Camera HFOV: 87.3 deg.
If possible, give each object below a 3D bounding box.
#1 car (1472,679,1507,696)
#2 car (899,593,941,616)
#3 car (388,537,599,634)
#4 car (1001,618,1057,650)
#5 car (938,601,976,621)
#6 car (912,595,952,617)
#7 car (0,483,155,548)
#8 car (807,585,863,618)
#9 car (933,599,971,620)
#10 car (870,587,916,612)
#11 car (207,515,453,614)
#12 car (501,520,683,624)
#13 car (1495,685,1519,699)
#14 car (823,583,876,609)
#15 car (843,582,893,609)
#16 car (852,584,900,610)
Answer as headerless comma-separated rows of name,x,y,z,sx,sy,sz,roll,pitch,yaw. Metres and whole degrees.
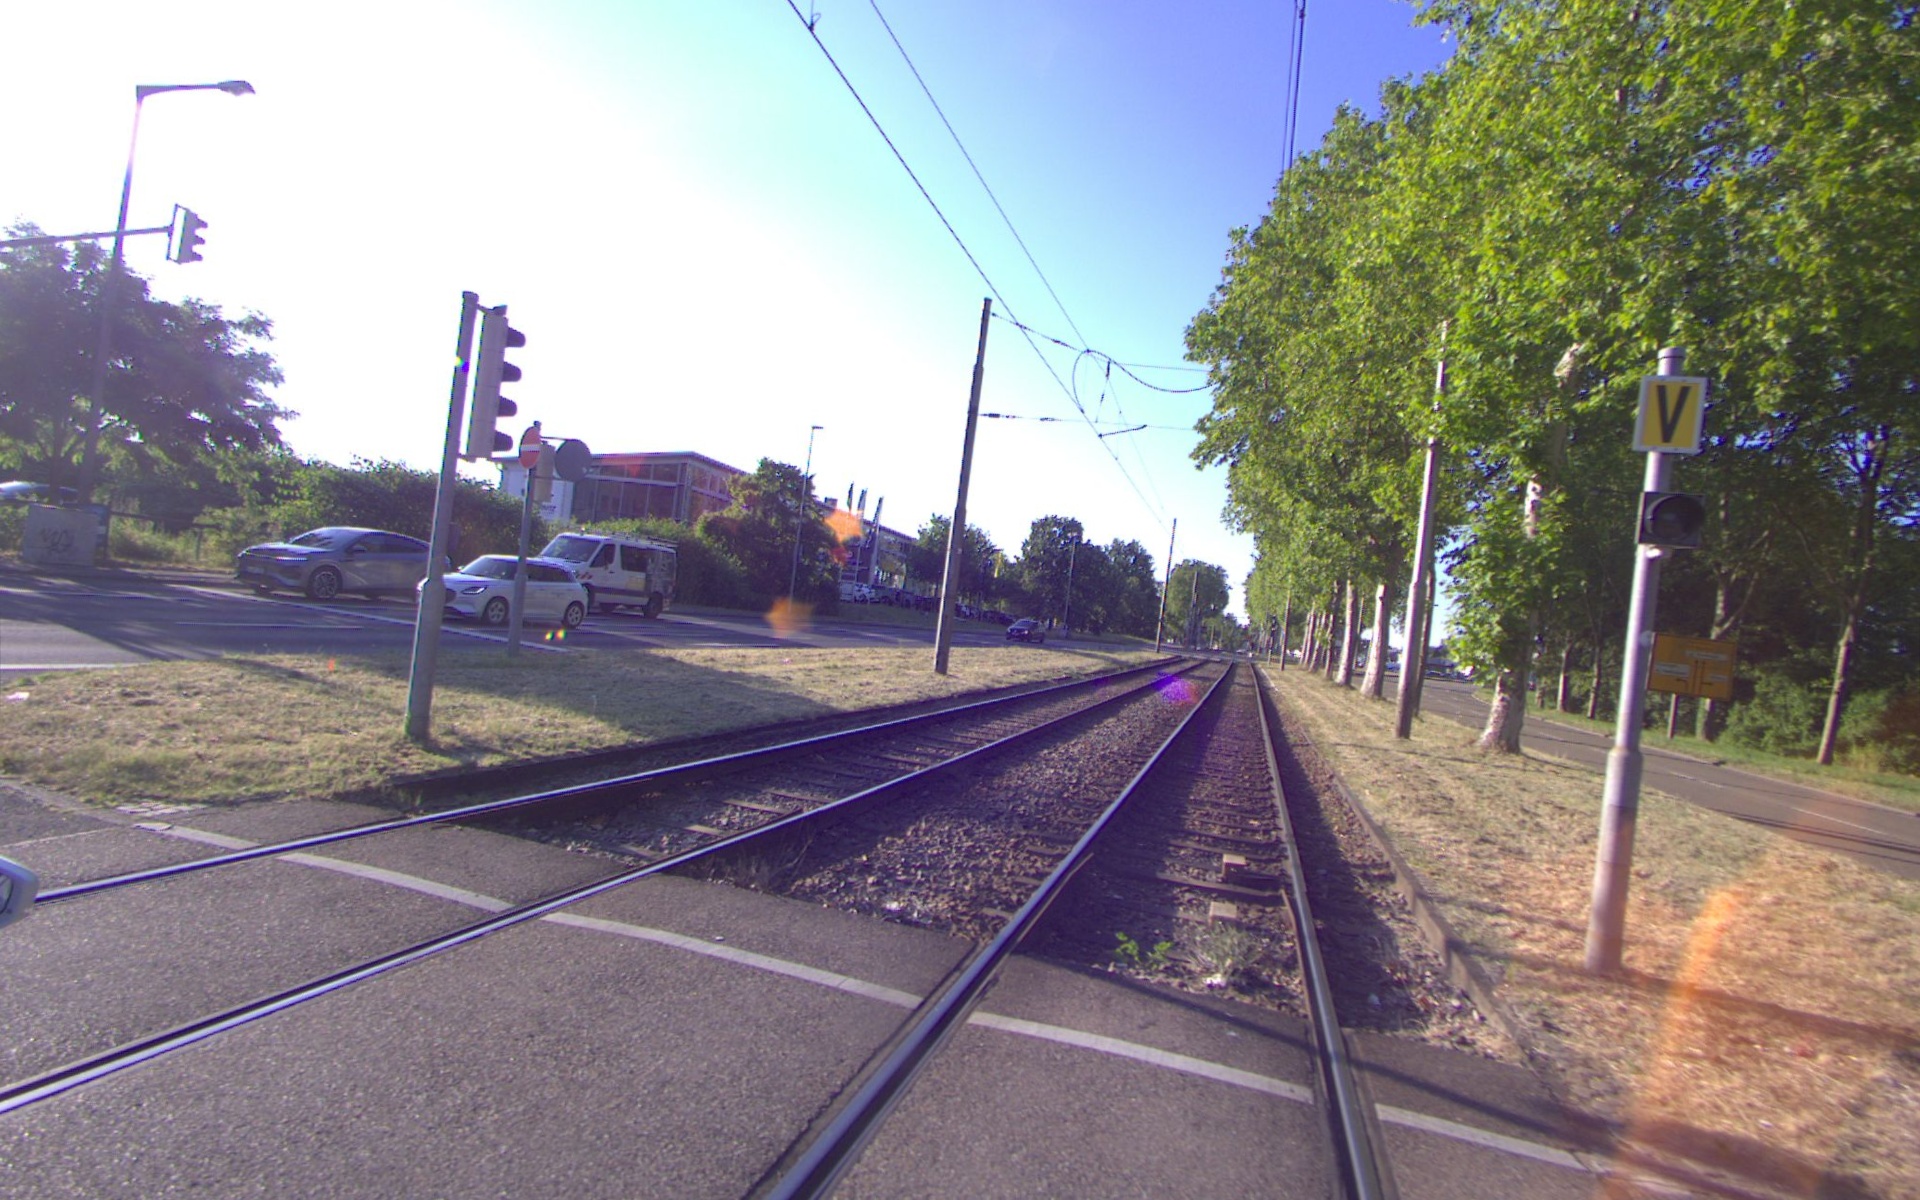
car,62.484,10.322,118.613,3.965,1.459,1.981,9,-1,-36
car,-3.764,0.405,95.032,3.732,1.586,1.759,8,0,-3
car,-10.087,-0.244,22.117,1.841,1.637,4.002,8,-1,18
car,4.575,2.276,66.359,1.785,1.704,3.991,8,-1,33
car,-0.325,1.127,106.885,3.732,1.586,1.759,8,0,-3
car,-2.767,0.610,98.268,3.732,1.586,1.759,8,0,-3
car,-33.215,-3.143,37.806,2.082,1.656,3.999,8,-1,25
car,-9.199,0.101,74.004,3.731,1.882,1.759,8,0,-3
car,-0.872,0.996,104.138,3.732,1.586,1.759,8,0,-3
car,-5.729,-0.040,86.465,3.732,1.586,1.759,8,0,-3
car,-14.071,-0.717,22.850,1.841,1.637,4.551,8,-1,16
car,-11.373,-0.754,31.726,1.972,2.596,5.879,8,-1,17
car,68.996,11.605,126.877,1.970,1.457,3.987,8,-1,37
car,-8.446,-0.317,77.053,3.732,1.405,1.759,8,0,-3
car,-7.306,-0.381,80.486,3.732,1.586,1.759,8,0,-3
car,-6.946,-0.267,83.824,3.732,1.586,1.759,8,0,-3
